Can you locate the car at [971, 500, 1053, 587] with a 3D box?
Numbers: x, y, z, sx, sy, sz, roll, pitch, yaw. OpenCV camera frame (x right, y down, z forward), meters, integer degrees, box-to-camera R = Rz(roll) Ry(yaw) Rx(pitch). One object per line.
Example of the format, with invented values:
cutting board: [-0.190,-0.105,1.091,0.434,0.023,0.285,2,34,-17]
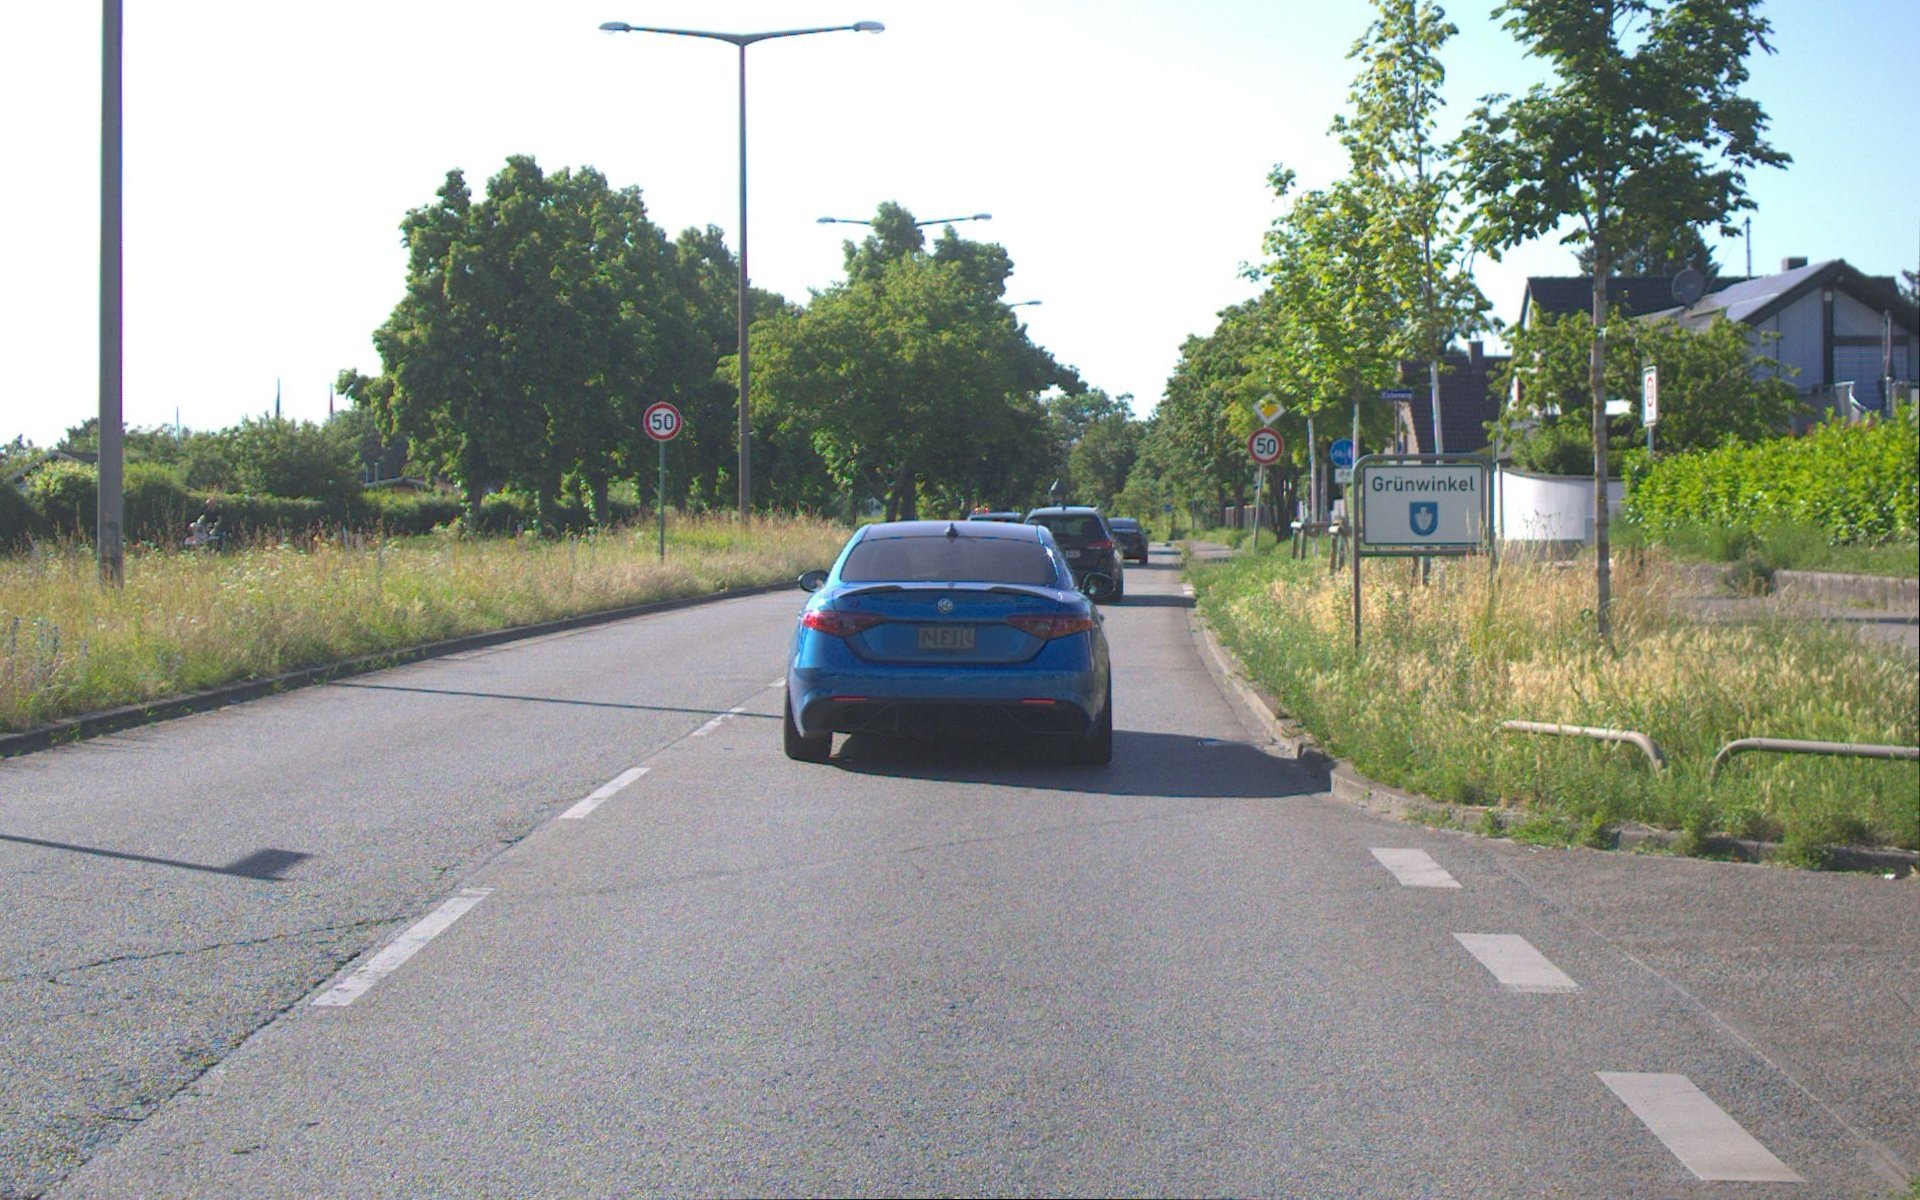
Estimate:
car: [1.276,-1.379,82.242,1.793,2.007,4.000,1,2,3]

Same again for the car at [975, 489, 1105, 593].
car: [1.234,-0.955,54.938,1.915,1.574,4.183,1,1,-1]

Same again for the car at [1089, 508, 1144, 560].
car: [4.957,-2.100,108.418,1.661,1.574,3.809,1,2,3]

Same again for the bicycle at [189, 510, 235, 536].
bicycle: [-20.576,-2.117,94.639,0.565,0.693,1.874,1,2,10]

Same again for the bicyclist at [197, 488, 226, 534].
bicyclist: [-20.587,-2.461,94.526,0.583,1.252,0.576,1,2,10]

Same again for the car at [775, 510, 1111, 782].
car: [-0.099,0.200,21.109,1.838,1.469,4.185,1,2,0]
